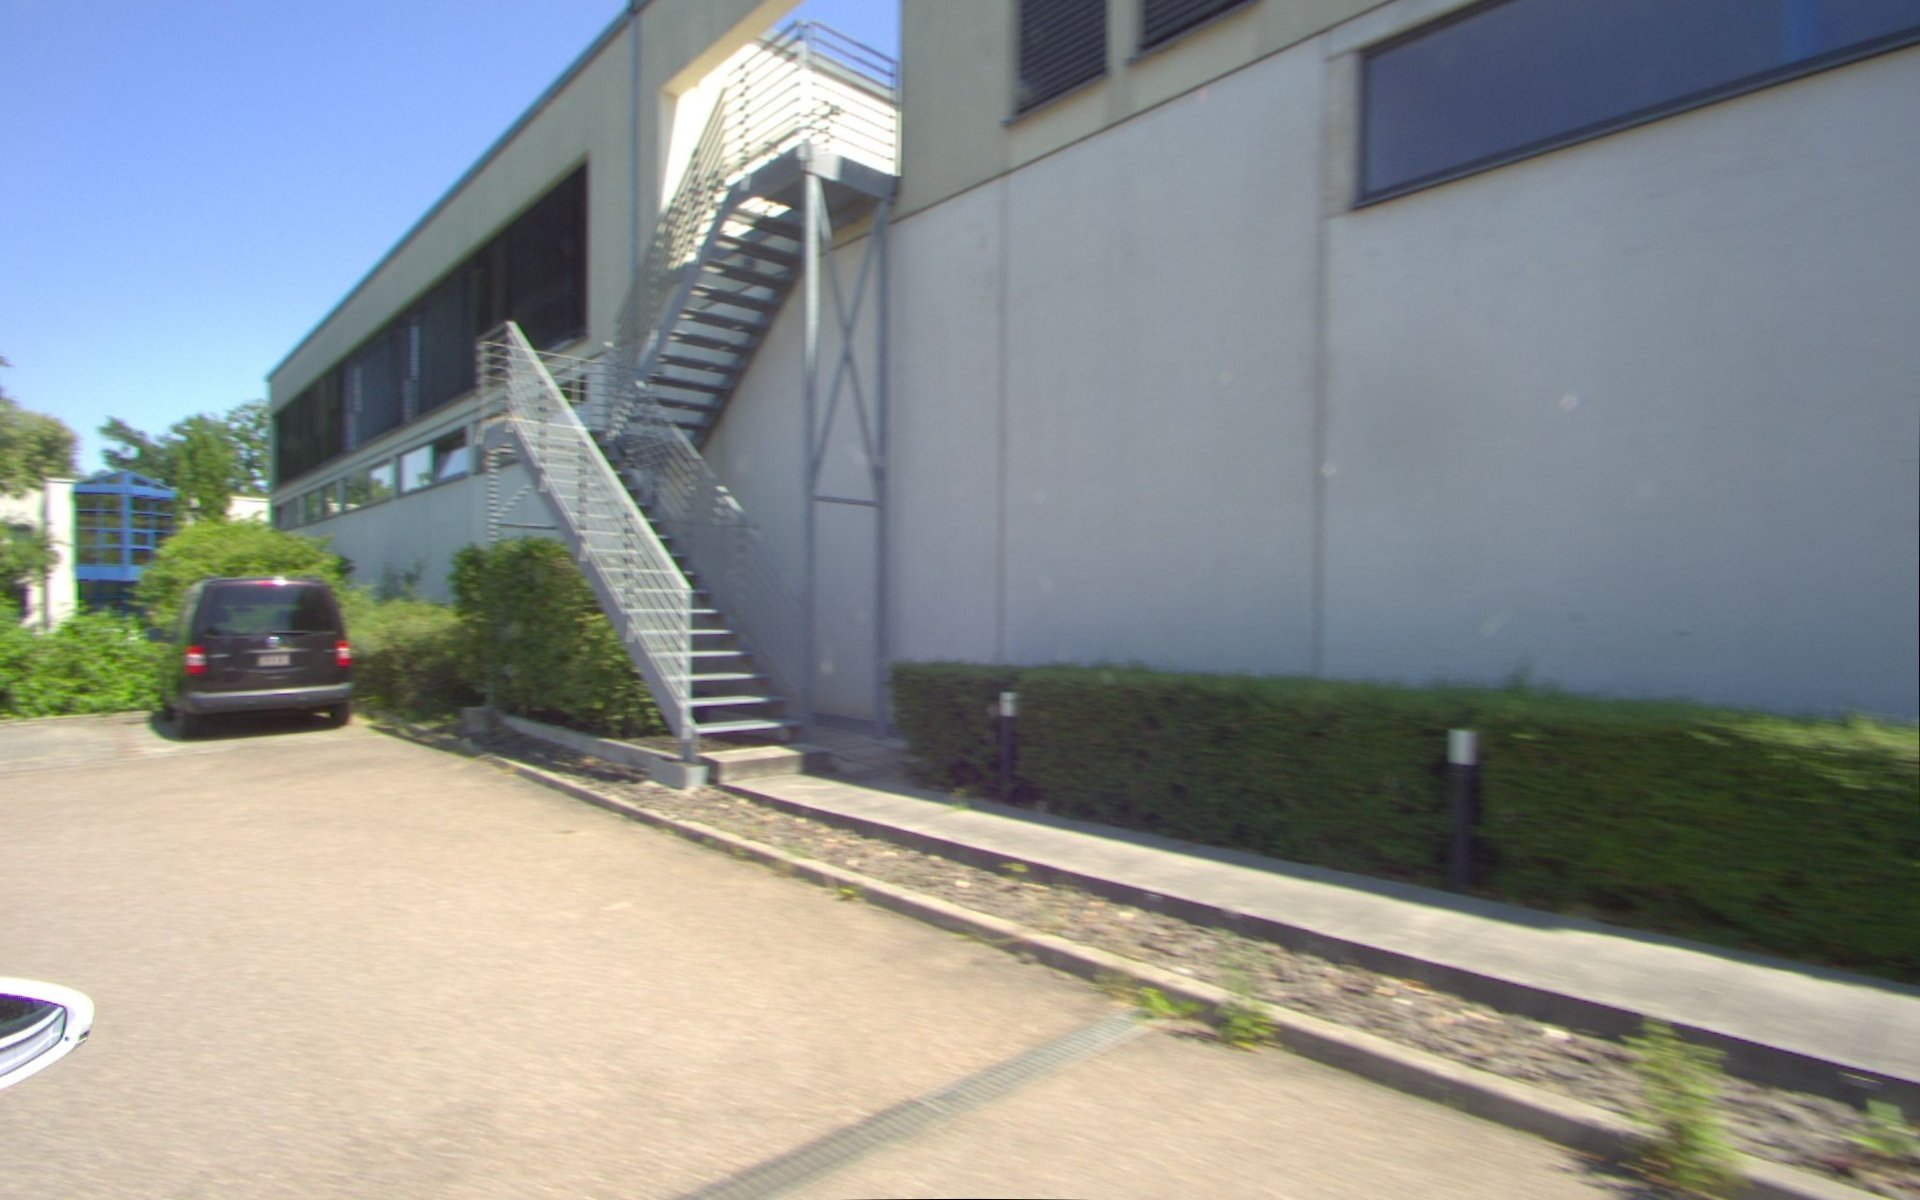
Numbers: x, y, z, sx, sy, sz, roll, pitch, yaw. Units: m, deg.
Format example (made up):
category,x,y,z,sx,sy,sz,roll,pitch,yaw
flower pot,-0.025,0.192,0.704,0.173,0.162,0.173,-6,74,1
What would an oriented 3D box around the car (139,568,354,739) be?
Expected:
category,x,y,z,sx,sy,sz,roll,pitch,yaw
car,-9.294,0.585,12.917,1.731,1.861,3.961,-1,1,-43
